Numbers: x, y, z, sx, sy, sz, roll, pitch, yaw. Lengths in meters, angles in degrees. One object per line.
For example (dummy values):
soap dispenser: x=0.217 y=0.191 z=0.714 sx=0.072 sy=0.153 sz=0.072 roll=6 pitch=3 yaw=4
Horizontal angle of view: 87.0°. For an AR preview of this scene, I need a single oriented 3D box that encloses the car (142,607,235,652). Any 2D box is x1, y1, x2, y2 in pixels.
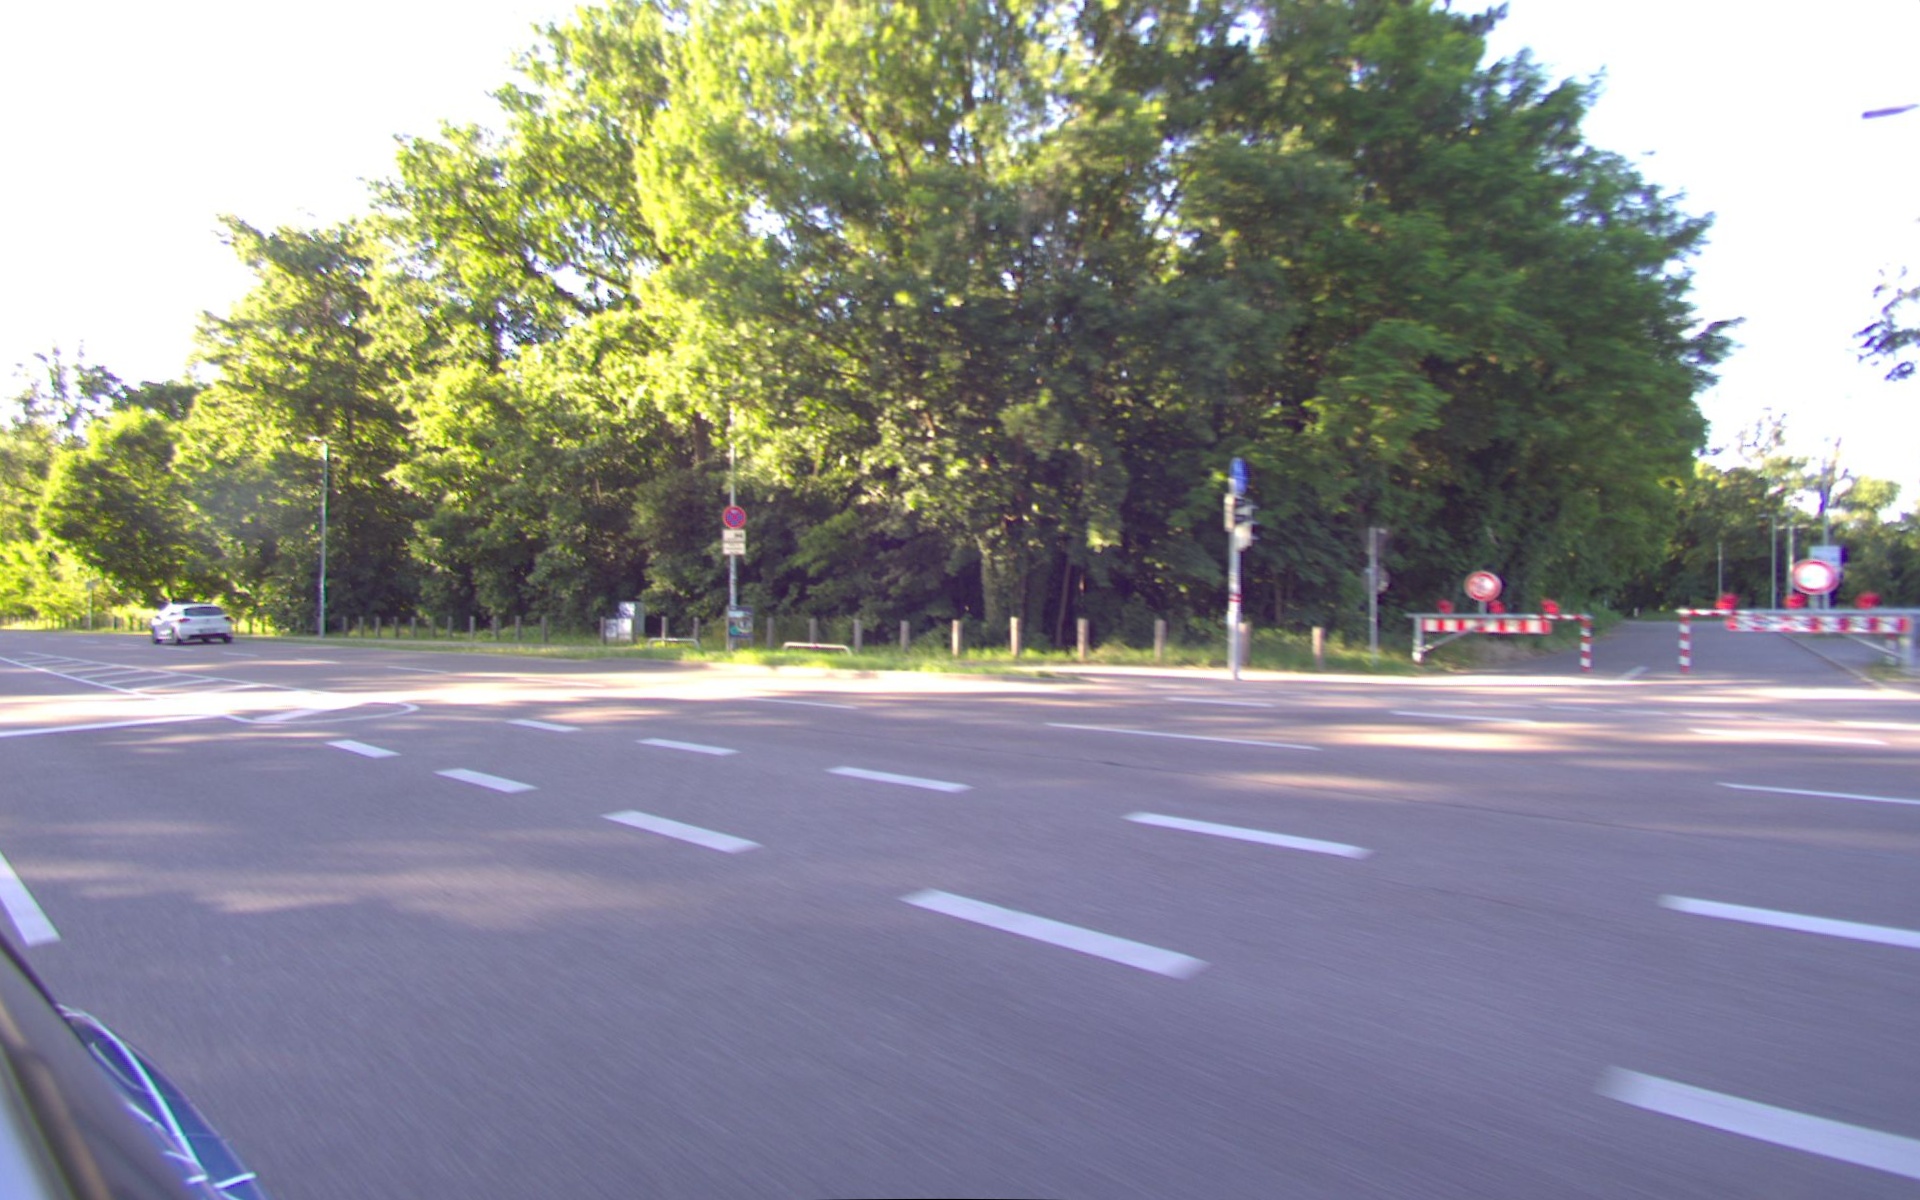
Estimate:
car: x=-28.089 y=1.055 z=36.814 sx=4.095 sy=1.475 sz=1.694 roll=-1 pitch=1 yaw=38
